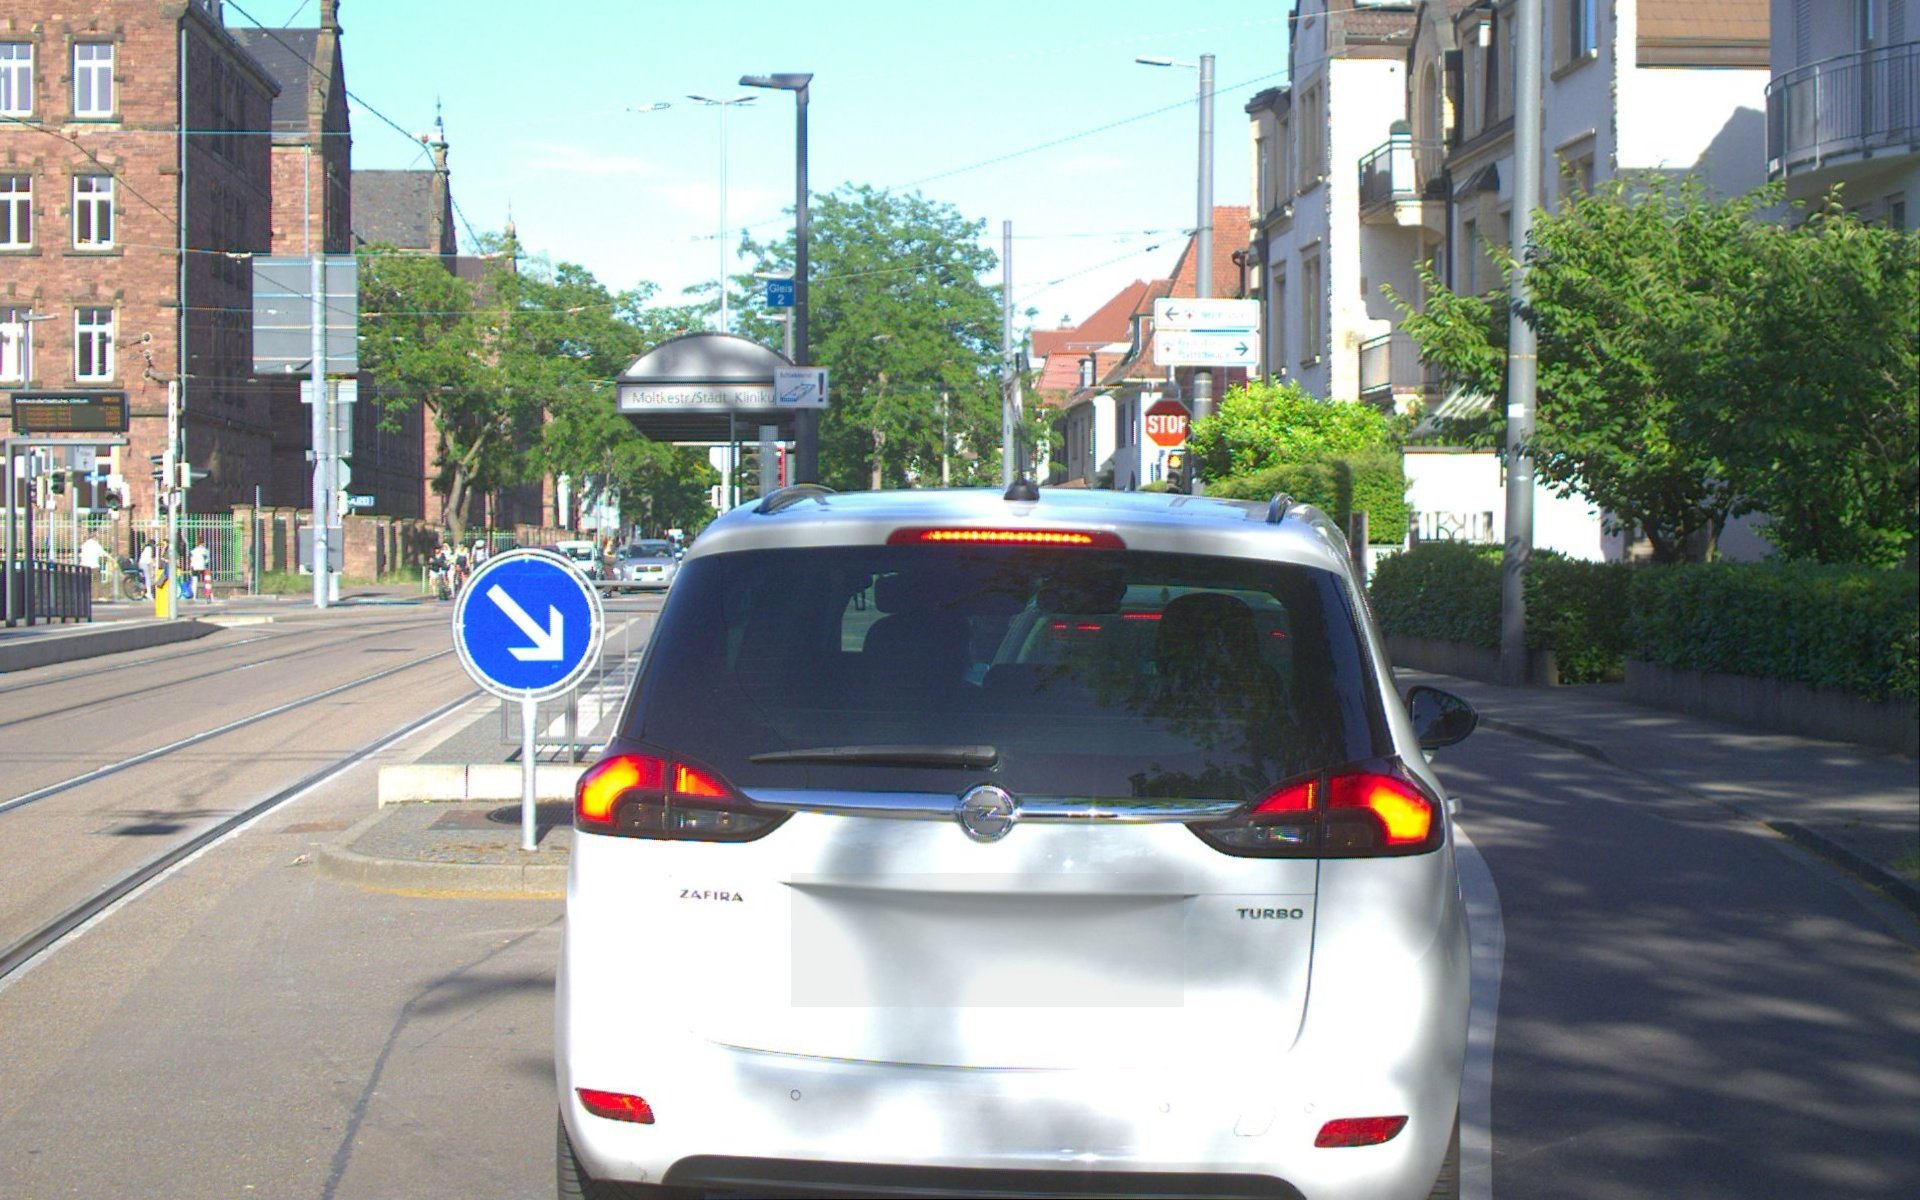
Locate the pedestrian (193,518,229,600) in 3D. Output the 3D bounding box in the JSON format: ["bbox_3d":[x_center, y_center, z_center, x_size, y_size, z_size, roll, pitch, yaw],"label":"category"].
[{"bbox_3d":[-18.517,-1.006,84.978,0.794,2.007,0.721,1,0,-17],"label":"pedestrian"}]

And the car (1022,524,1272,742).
[{"bbox_3d":[1.572,0.217,28.275,1.907,1.656,4.000,0,1,4],"label":"car"}]

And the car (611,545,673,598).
[{"bbox_3d":[-10.638,-0.958,115.220,1.746,1.710,4.000,1,1,-1],"label":"car"}]

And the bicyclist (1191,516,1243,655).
[{"bbox_3d":[3.121,-0.181,41.793,0.616,1.681,0.779,0,1,4],"label":"bicyclist"}]

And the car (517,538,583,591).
[{"bbox_3d":[-13.539,-1.164,113.714,1.746,1.710,4.000,1,1,-1],"label":"car"}]

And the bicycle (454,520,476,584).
[{"bbox_3d":[-15.708,-1.532,109.154,0.487,2.007,1.405,0,1,0],"label":"bicycle"}]

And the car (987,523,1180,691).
[{"bbox_3d":[1.249,0.035,36.112,1.907,1.656,4.000,0,1,1],"label":"car"}]

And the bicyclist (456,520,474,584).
[{"bbox_3d":[-15.706,-1.529,109.168,0.498,2.007,0.572,0,1,-1],"label":"bicyclist"}]

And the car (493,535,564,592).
[{"bbox_3d":[-13.414,-1.128,107.047,1.746,1.710,4.000,1,1,-1],"label":"car"}]

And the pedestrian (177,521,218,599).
[{"bbox_3d":[-19.724,-1.035,88.954,0.795,2.007,0.720,1,0,-37],"label":"pedestrian"}]

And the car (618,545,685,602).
[{"bbox_3d":[-9.627,-0.828,107.363,1.746,1.710,4.000,1,1,-1],"label":"car"}]

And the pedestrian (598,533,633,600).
[{"bbox_3d":[-9.798,-0.955,97.746,0.741,1.894,0.811,1,0,-24],"label":"pedestrian"}]

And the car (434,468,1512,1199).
[{"bbox_3d":[0.236,0.560,8.041,1.907,1.656,3.999,0,1,7],"label":"car"}]

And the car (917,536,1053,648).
[{"bbox_3d":[0.346,-0.152,53.090,1.907,1.656,4.001,0,1,-2],"label":"car"}]

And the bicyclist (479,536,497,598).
[{"bbox_3d":[-15.376,-1.066,111.930,0.488,2.007,0.502,1,0,-1],"label":"bicyclist"}]

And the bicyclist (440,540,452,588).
[{"bbox_3d":[-15.413,-1.073,103.045,0.313,1.439,0.384,0,1,-1],"label":"bicyclist"}]

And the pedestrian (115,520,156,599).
[{"bbox_3d":[-21.187,-1.050,88.349,0.795,2.007,0.720,1,0,-34],"label":"pedestrian"}]

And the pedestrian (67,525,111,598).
[{"bbox_3d":[-22.548,-0.997,88.998,0.808,1.894,0.743,1,0,14],"label":"pedestrian"}]

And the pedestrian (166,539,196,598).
[{"bbox_3d":[-21.592,-0.868,95.300,0.654,1.606,0.711,1,0,2],"label":"pedestrian"}]

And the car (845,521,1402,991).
[{"bbox_3d":[0.785,0.493,13.775,1.907,1.592,3.999,0,1,7],"label":"car"}]

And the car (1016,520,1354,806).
[{"bbox_3d":[1.507,0.319,21.615,1.907,1.619,3.999,0,1,7],"label":"car"}]

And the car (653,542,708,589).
[{"bbox_3d":[-10.473,-1.307,129.072,1.746,1.710,4.000,1,1,-1],"label":"car"}]
